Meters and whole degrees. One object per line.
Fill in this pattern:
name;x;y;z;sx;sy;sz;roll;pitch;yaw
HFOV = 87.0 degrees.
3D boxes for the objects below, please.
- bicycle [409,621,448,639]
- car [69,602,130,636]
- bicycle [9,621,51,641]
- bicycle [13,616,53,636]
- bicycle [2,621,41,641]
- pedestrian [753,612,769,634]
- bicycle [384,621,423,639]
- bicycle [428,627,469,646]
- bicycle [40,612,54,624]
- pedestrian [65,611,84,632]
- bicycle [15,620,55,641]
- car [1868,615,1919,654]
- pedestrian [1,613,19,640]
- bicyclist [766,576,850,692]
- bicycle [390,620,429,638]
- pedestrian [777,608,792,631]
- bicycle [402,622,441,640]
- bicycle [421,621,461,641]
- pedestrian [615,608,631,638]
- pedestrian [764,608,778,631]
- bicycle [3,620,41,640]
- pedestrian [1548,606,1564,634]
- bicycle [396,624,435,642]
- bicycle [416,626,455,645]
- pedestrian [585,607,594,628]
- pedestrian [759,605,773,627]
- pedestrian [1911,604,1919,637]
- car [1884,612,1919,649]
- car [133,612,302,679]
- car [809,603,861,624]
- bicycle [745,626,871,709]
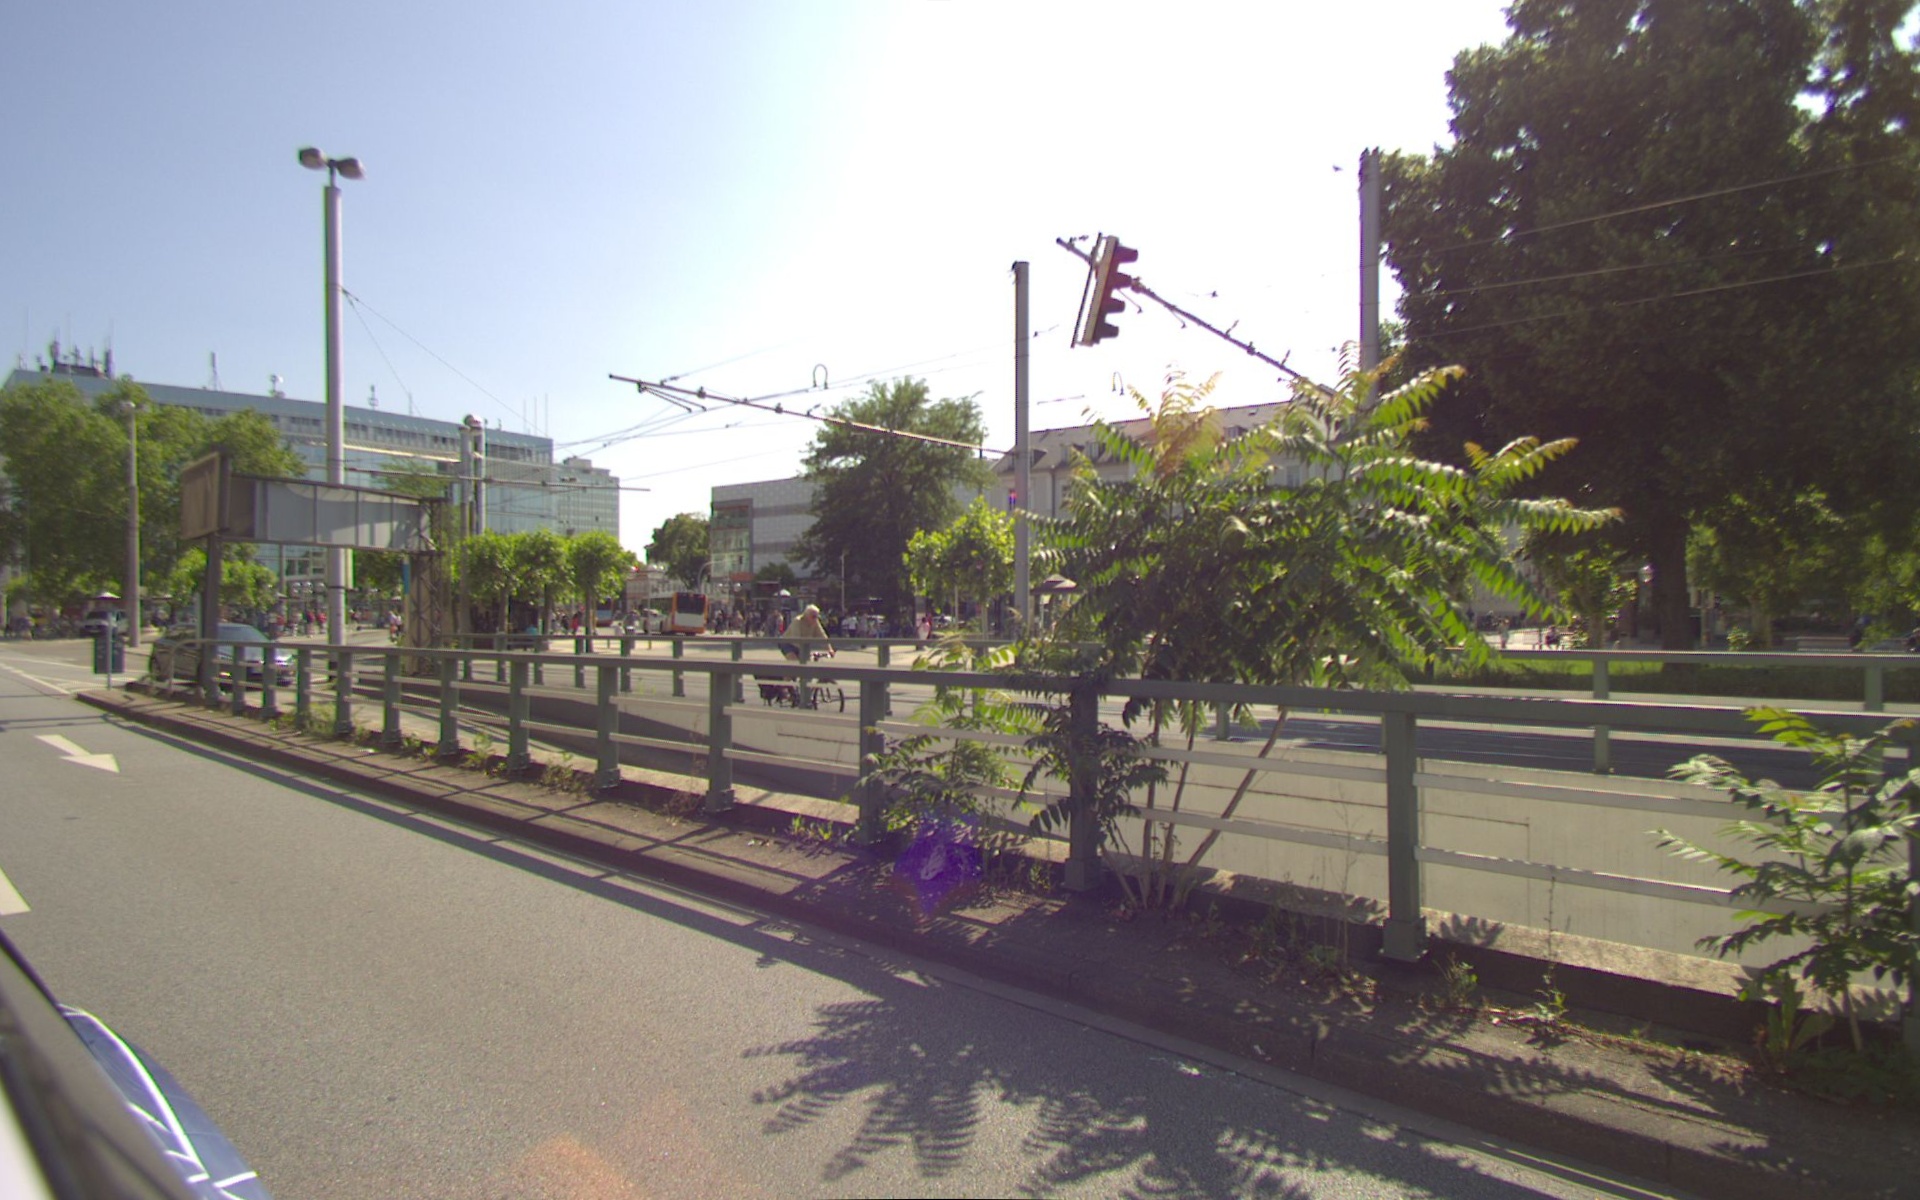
bicycle;-28.715;1.623;54.695;0.544;0.862;1.853;-1;2;28
car;-57.484;1.244;67.697;1.966;2.028;5.083;-3;2;-27
bicycle;-56.849;1.872;61.862;0.482;1.156;1.842;-1;1;39
bicycle;-56.049;1.551;61.220;0.482;1.156;1.735;-1;1;39
bicycle;-58.237;1.890;62.820;0.482;1.156;1.735;-1;1;39
pedestrian;-13.737;1.606;69.947;0.741;1.477;0.780;-1;-3;36
bicycle;-30.975;1.664;56.346;0.544;0.862;1.853;-1;2;28
bicycle;-26.613;1.893;52.683;0.579;0.876;1.853;-1;2;28
bicycle;-87.778;1.735;97.336;1.754;1.156;0.586;-1;0;34
pedestrian;-62.706;1.526;71.685;0.780;1.418;0.744;-1;2;31
bicycle;-55.666;1.840;60.918;0.482;1.156;1.735;-1;1;39
car;40.633;1.438;42.148;3.992;1.519;1.740;-1;2;36
pedestrian;-61.998;1.733;66.065;0.640;1.704;0.637;-1;2;28
bicyclist;-2.246;0.512;14.938;0.902;1.634;0.809;-2;-4;41
bicycle;-30.457;1.618;56.016;0.581;0.878;1.853;-1;2;28
pedestrian;-11.491;1.294;66.264;0.679;1.477;0.617;-1;-3;36
bicycle;-29.340;1.682;55.171;0.544;0.862;1.853;-1;2;28
bicycle;-27.126;1.619;52.939;0.579;0.876;1.853;-1;2;28
pedestrian;-17.947;1.225;53.942;0.549;1.620;0.600;-2;-3;44
pedestrian;-12.452;1.266;66.570;0.679;1.477;0.617;-1;-3;36
bicycle;-59.502;1.891;64.206;0.482;1.156;1.735;-1;1;39
pedestrian;27.409;0.942;46.555;0.525;1.273;0.574;-1;-2;20
bicycle;-29.844;1.793;55.489;0.544;0.862;1.853;-1;2;28
bicycle;-28.134;1.894;54.334;0.579;0.876;1.853;-1;2;28
pedestrian;-26.301;1.242;71.845;0.407;1.477;0.451;0;-2;6
pedestrian;-13.248;1.101;69.189;0.679;1.477;0.617;-1;-3;36
pedestrian;37.594;0.803;39.366;0.657;1.273;0.745;-1;-3;29
car;42.770;1.319;43.739;3.992;1.519;1.740;-1;2;36
car;-17.083;1.021;23.262;3.985;1.415;1.682;0;-4;31
car;-9.948;1.083;80.494;3.992;1.519;1.740;-1;2;36
bicycle;-2.255;0.963;14.901;1.873;1.129;0.809;0;-2;42
